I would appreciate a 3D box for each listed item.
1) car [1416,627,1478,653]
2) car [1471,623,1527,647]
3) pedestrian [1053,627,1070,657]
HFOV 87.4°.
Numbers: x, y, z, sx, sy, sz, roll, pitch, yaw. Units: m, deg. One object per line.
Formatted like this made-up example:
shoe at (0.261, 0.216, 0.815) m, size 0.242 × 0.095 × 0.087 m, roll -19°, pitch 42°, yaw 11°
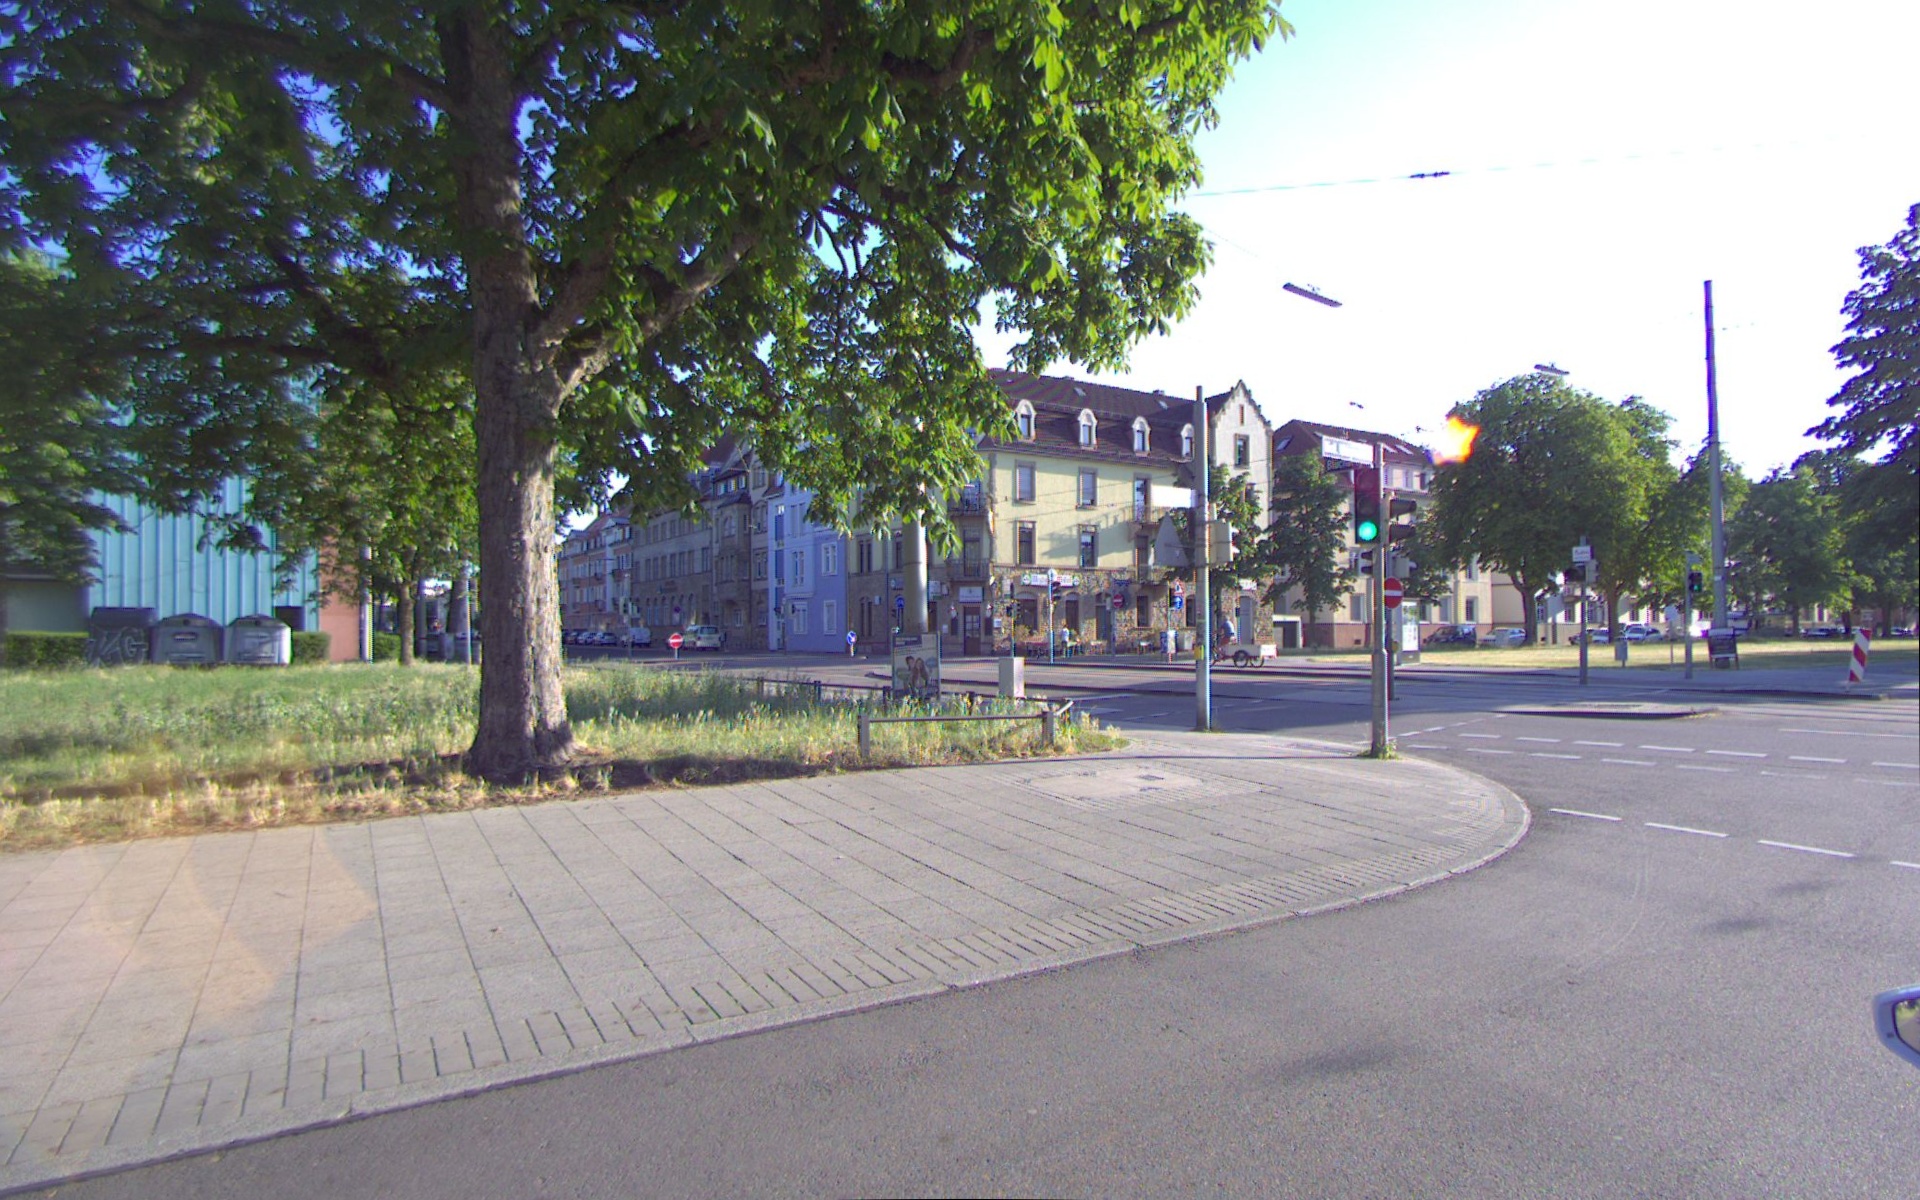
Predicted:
car at (35.581, 2.937, 73.382) m, size 4.261 × 1.759 × 1.984 m, roll 2°, pitch 0°, yaw -30°
car at (40.959, 2.654, 76.326) m, size 3.953 × 1.681 × 1.984 m, roll 2°, pitch 0°, yaw -30°
pedestrian at (5.690, 2.372, 56.296) m, size 0.676 × 1.646 × 0.612 m, roll 2°, pitch 0°, yaw -34°
